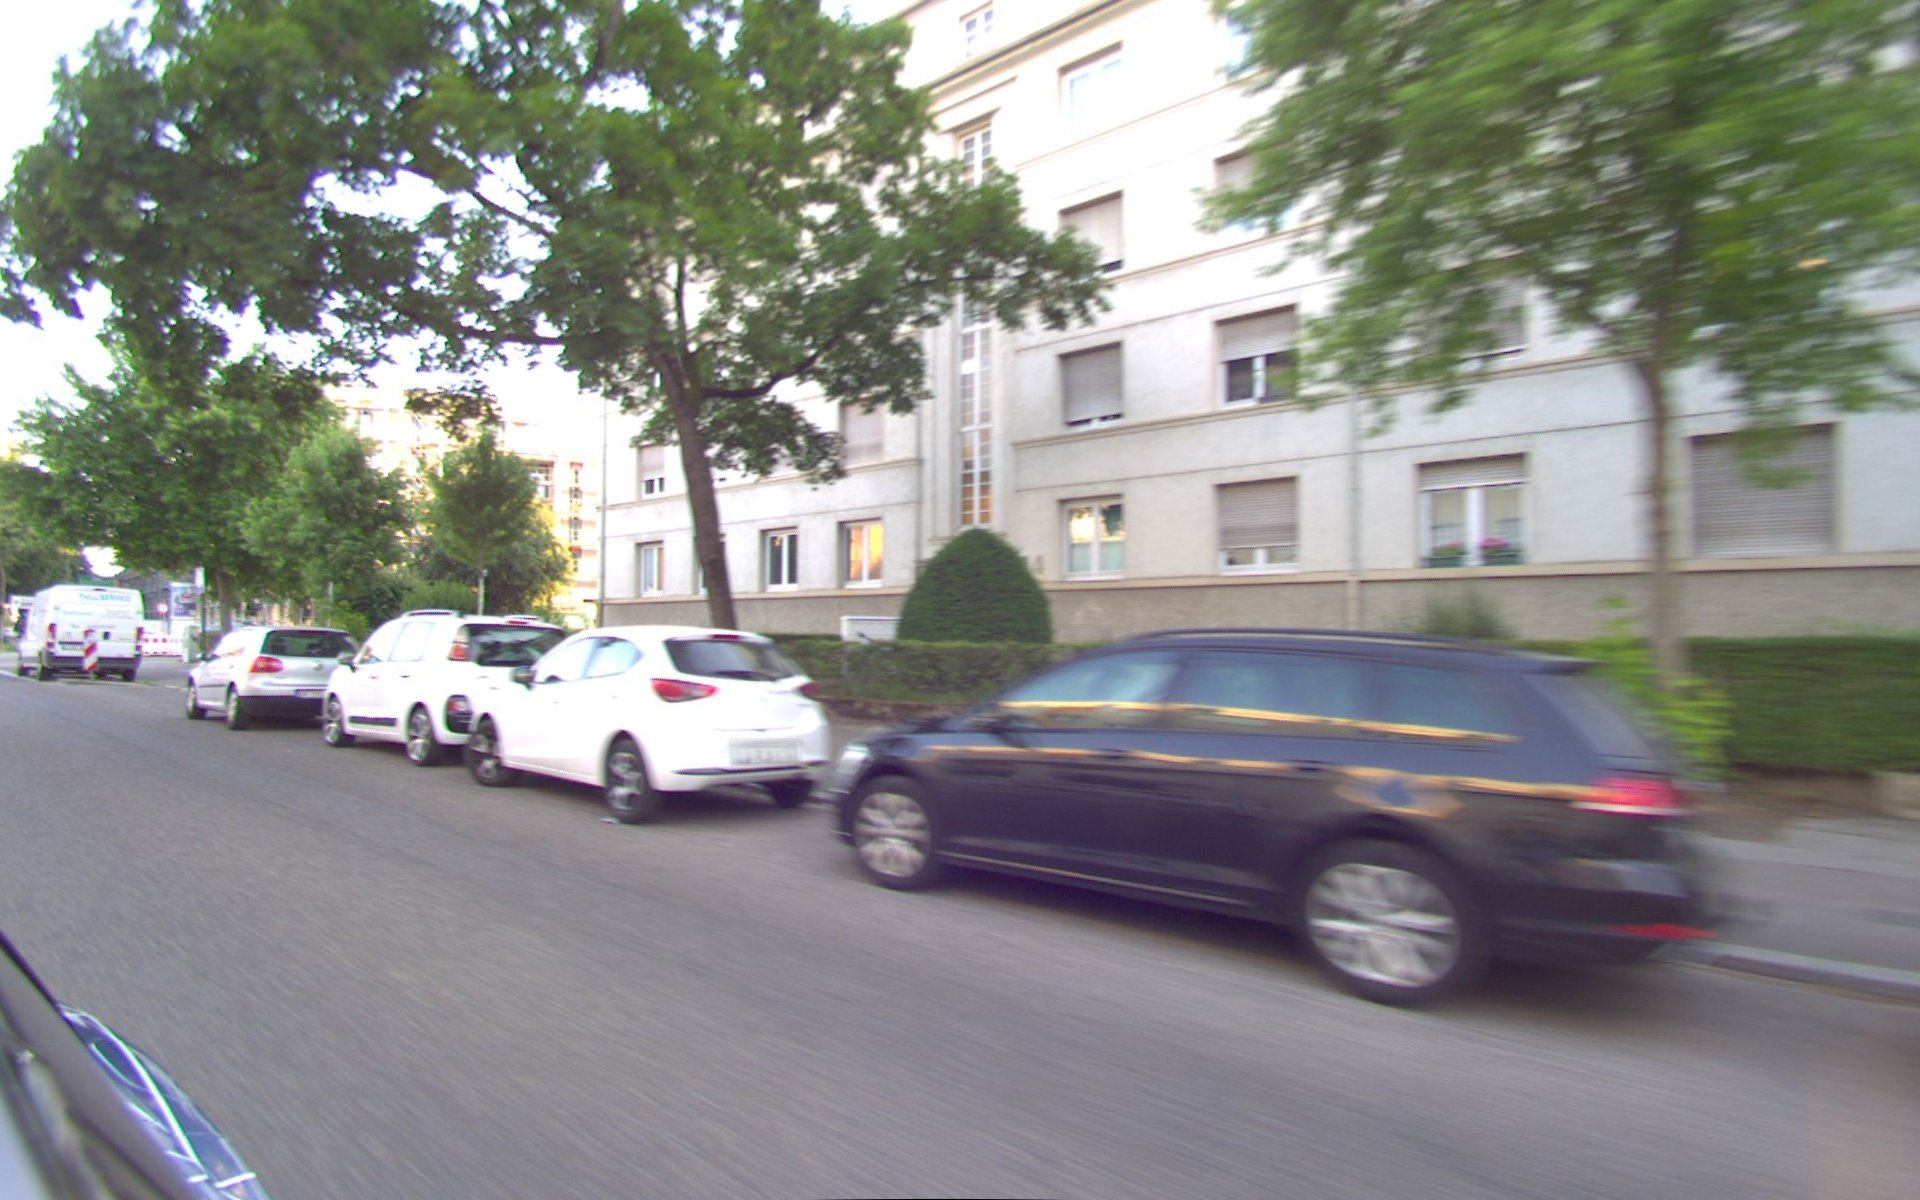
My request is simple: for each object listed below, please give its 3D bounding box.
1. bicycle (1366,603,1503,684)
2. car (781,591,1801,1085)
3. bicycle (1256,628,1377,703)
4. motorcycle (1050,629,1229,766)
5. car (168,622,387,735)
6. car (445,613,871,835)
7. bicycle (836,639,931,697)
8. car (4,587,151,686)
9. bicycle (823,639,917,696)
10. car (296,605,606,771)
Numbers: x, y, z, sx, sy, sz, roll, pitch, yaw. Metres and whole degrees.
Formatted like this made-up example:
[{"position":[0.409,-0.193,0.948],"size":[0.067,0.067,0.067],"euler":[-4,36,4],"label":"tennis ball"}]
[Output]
[{"position":[7.268,0.665,15.573],"size":[1.817,1.181,0.550],"euler":[-2,-3,44],"label":"bicycle"},{"position":[1.296,0.833,5.264],"size":[4.674,1.491,1.735],"euler":[-2,-5,40],"label":"car"},{"position":[5.855,1.055,16.702],"size":[1.817,1.181,0.550],"euler":[-2,-3,44],"label":"bicycle"},{"position":[1.856,0.977,10.685],"size":[1.827,1.335,0.580],"euler":[-2,-3,41],"label":"motorcycle"},{"position":[-10.471,1.150,15.412],"size":[4.223,1.483,1.733],"euler":[-2,-6,42],"label":"car"},{"position":[-2.769,0.946,8.823],"size":[3.944,1.491,1.733],"euler":[-2,-6,43],"label":"car"},{"position":[-1.445,1.271,19.259],"size":[1.787,1.051,0.559],"euler":[1,-2,-37],"label":"bicycle"},{"position":[-24.849,1.048,28.412],"size":[6.100,2.480,2.156],"euler":[-2,-6,41],"label":"car"},{"position":[-1.719,1.278,19.514],"size":[1.787,1.051,0.559],"euler":[1,-2,-37],"label":"bicycle"},{"position":[-6.161,0.981,12.063],"size":[4.103,1.644,1.735],"euler":[-2,-5,40],"label":"car"}]
